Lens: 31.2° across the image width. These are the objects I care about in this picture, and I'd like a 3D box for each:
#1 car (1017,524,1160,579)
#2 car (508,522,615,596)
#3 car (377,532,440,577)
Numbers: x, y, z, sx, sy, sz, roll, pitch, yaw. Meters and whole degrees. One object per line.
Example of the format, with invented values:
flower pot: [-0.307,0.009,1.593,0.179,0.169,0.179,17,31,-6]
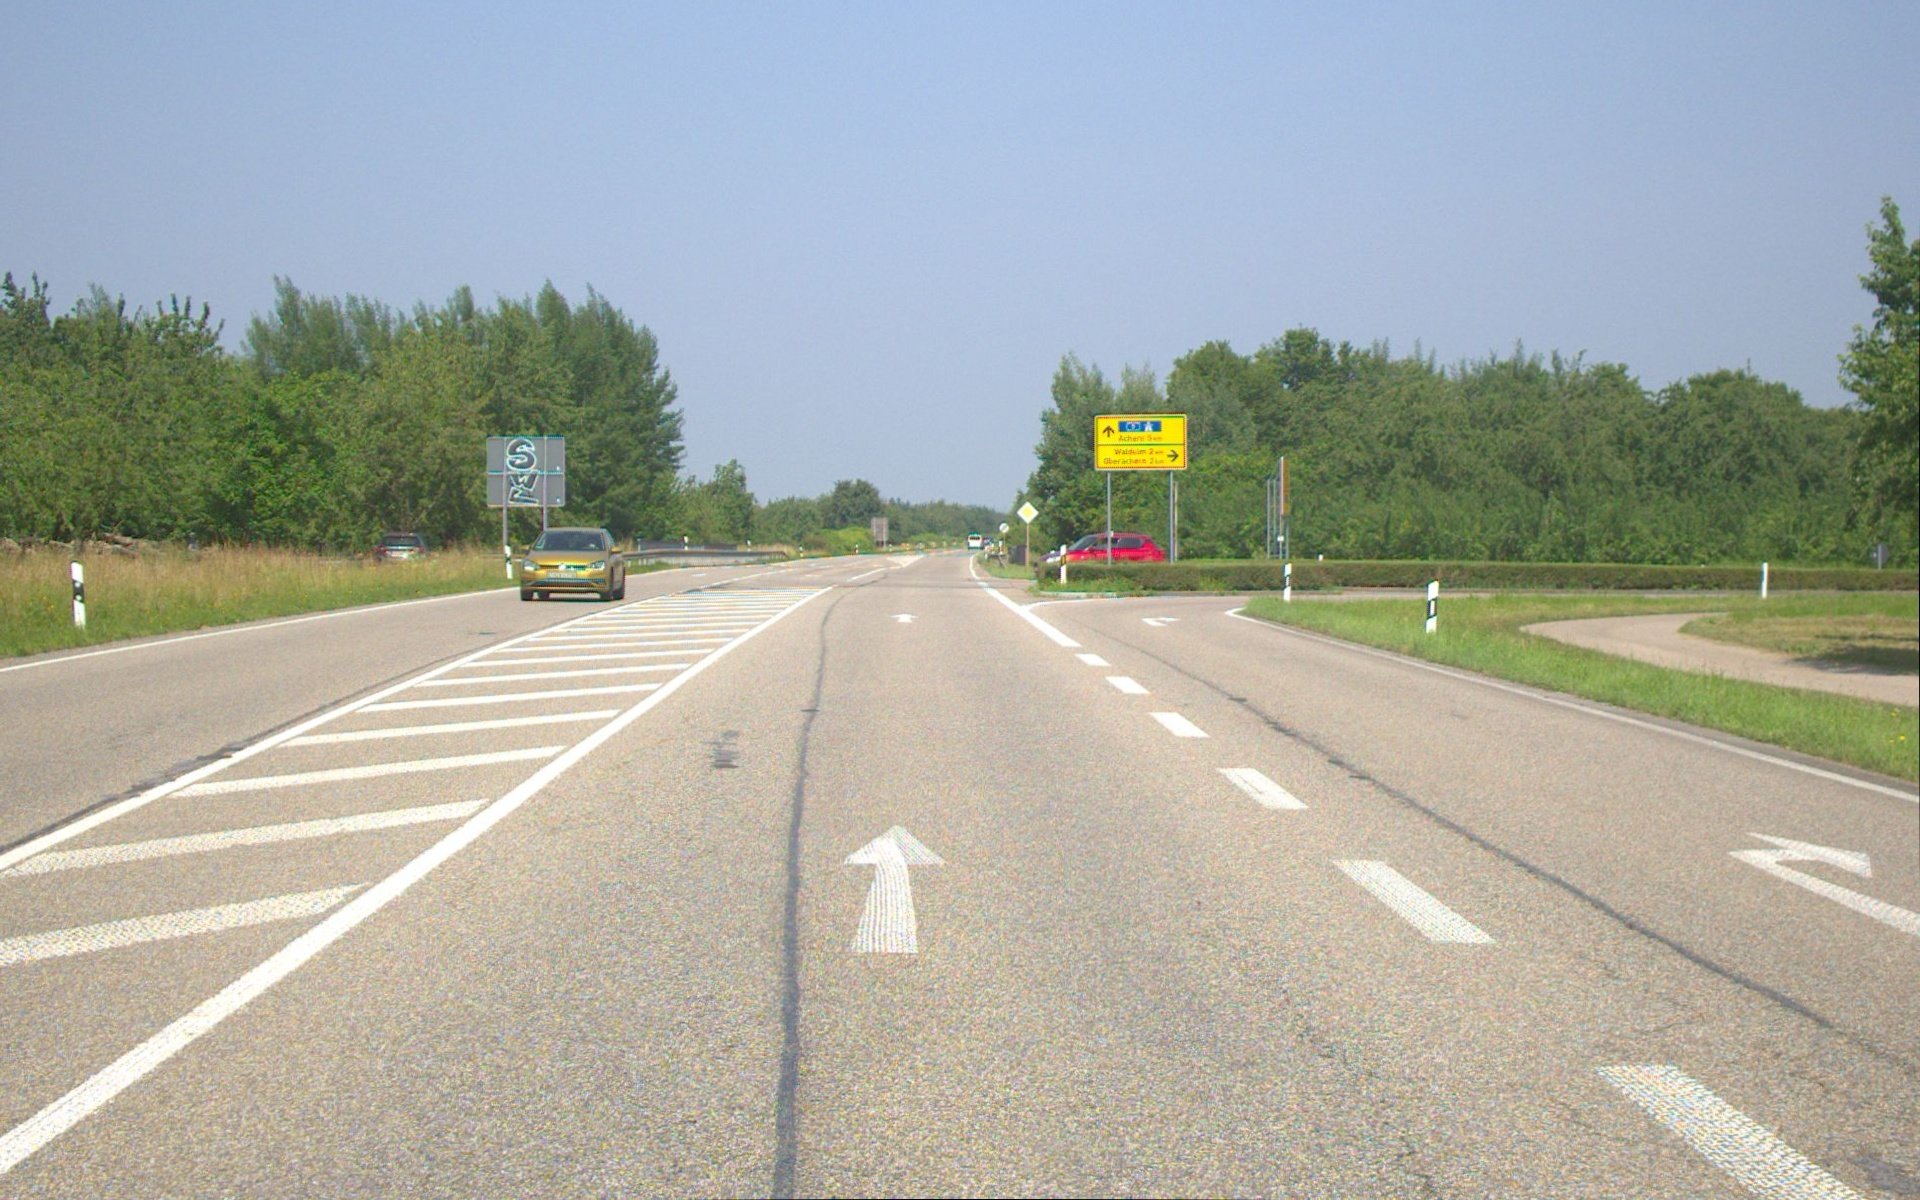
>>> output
car: [3.709,-1.411,99.519,3.739,1.487,1.672,1,1,-17]
car: [-7.831,-0.823,67.819,1.697,1.411,3.825,1,1,-1]
car: [-17.469,-1.446,109.013,1.704,1.418,4.044,0,1,-5]
